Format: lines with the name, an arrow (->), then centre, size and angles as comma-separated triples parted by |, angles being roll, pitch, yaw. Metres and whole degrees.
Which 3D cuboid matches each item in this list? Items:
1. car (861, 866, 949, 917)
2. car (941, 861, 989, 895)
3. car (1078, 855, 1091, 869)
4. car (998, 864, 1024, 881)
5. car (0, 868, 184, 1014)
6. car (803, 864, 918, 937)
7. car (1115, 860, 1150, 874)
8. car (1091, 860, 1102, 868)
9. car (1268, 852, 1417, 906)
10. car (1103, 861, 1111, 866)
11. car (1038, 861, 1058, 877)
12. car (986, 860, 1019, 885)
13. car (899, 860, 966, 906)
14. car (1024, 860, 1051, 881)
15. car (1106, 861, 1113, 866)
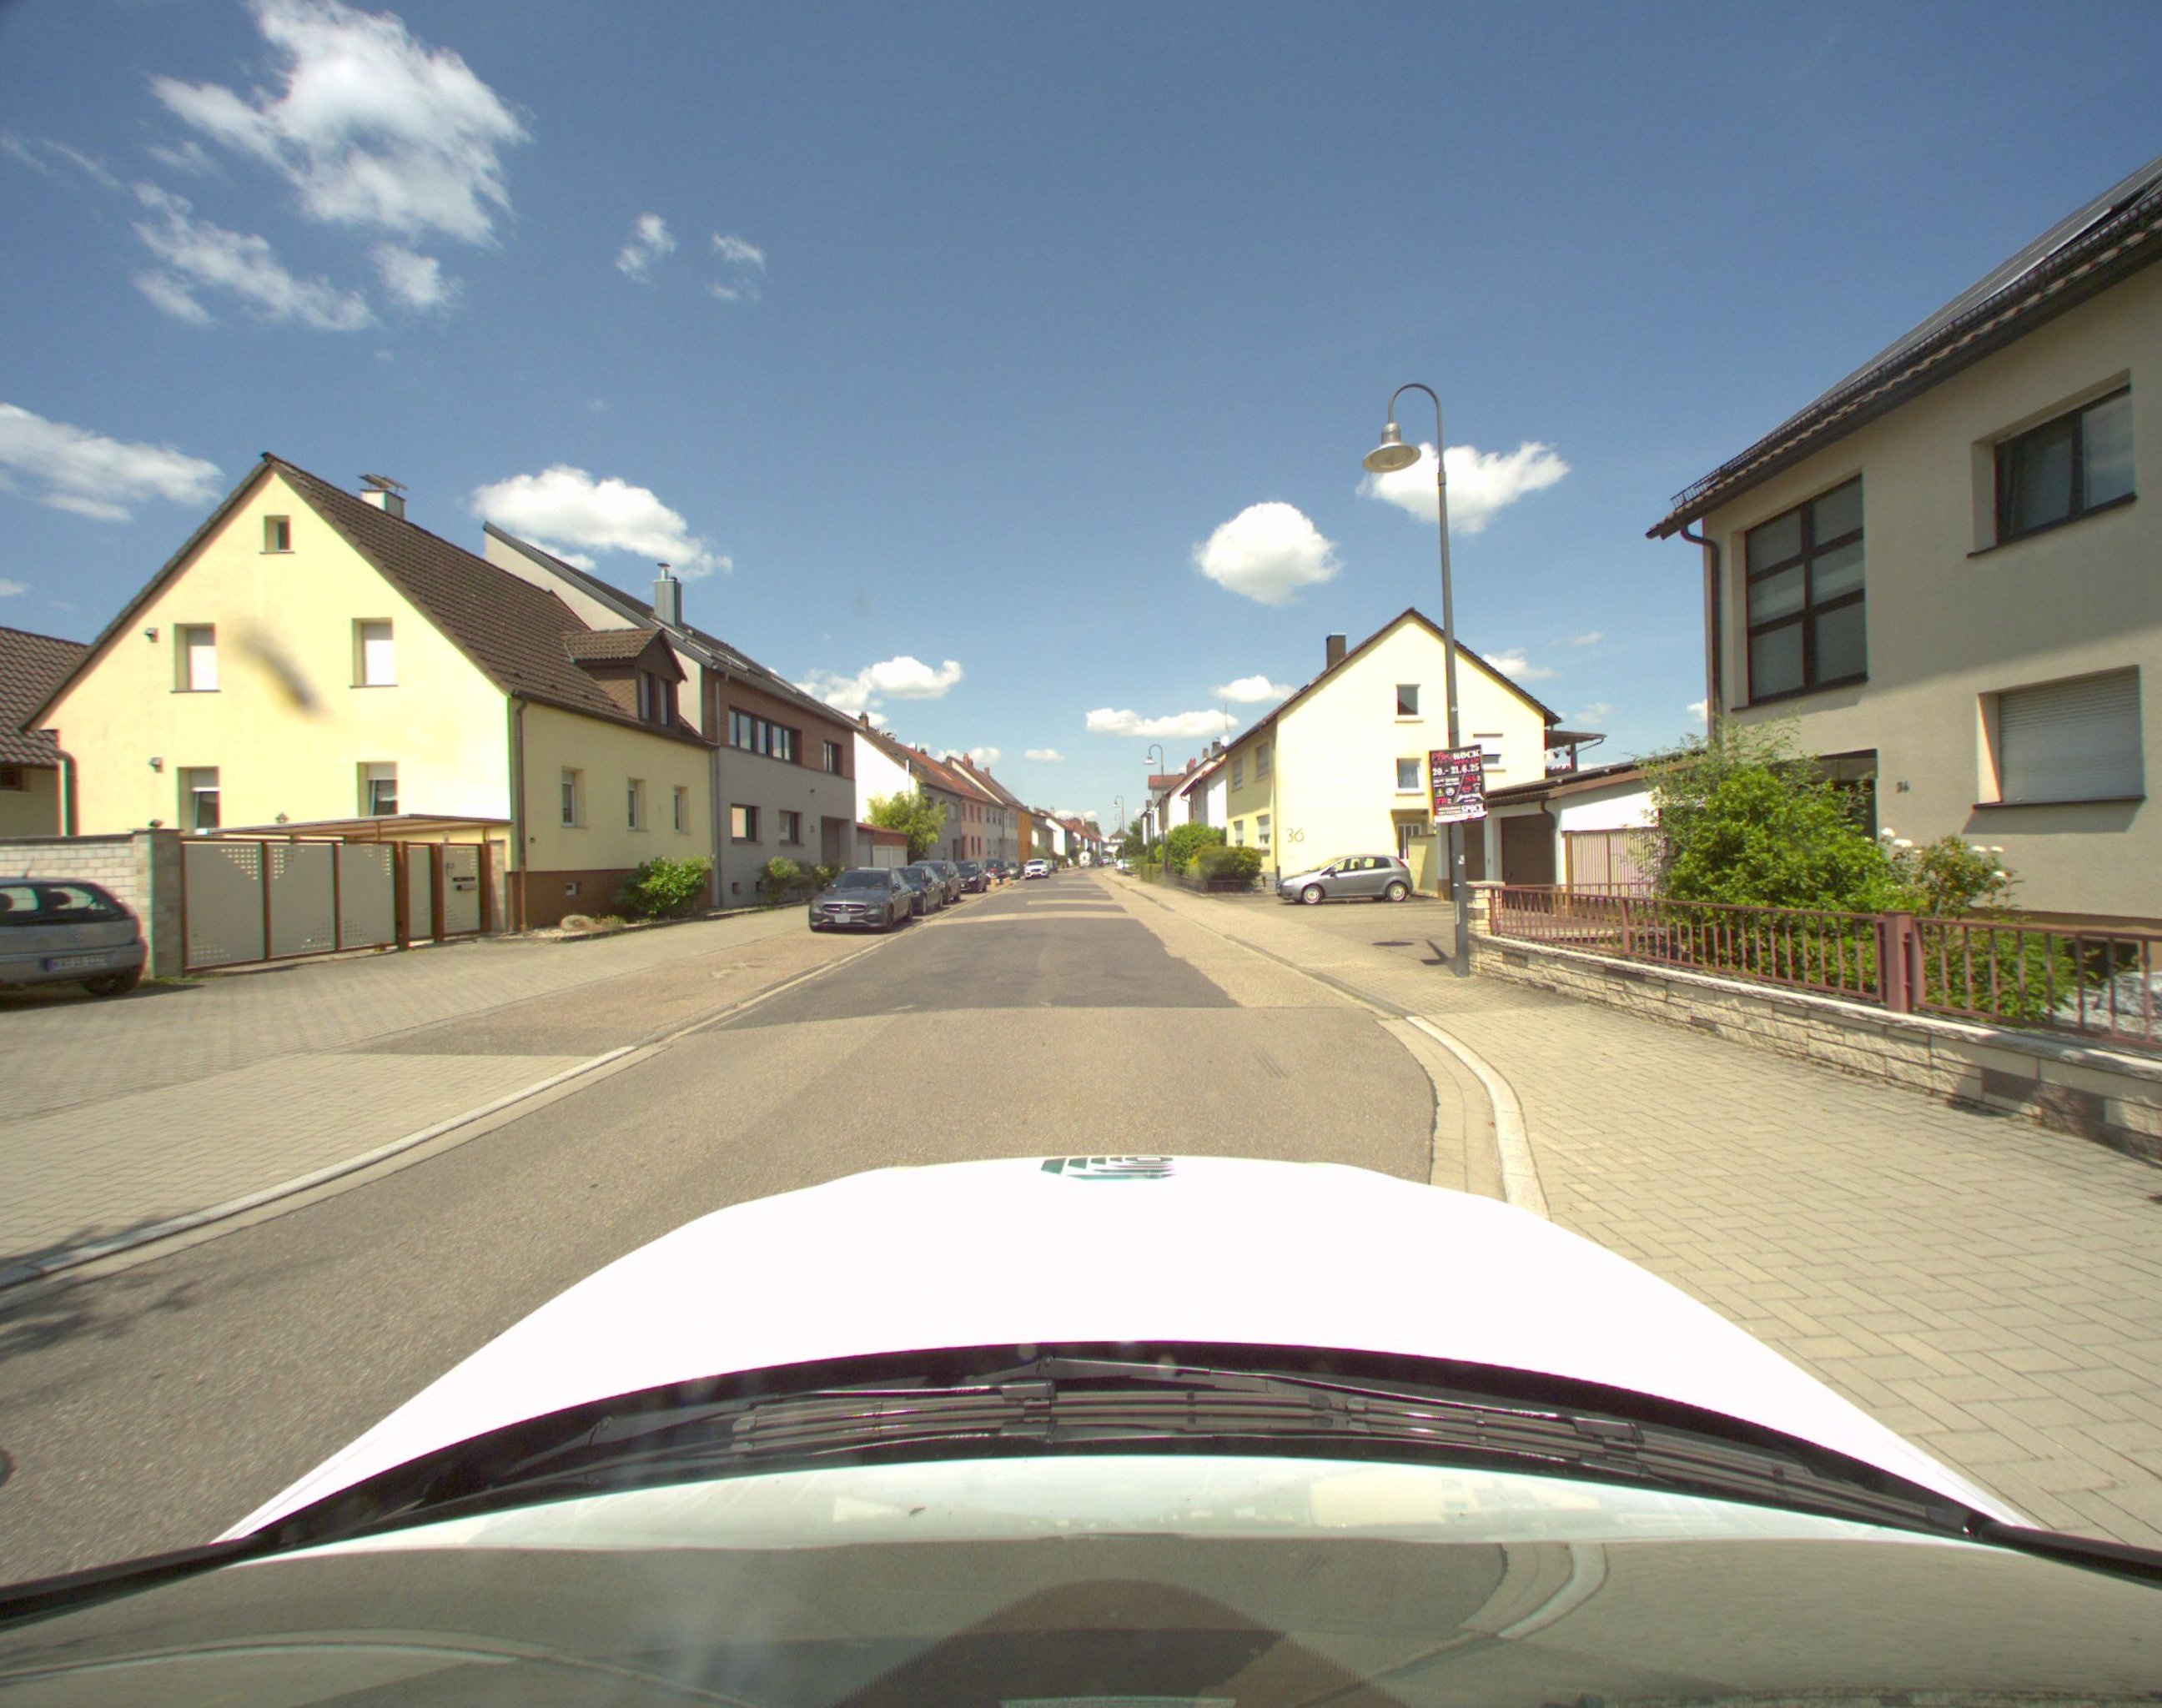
car -> -5.457, 1.116, 25.720 | 1.810, 1.434, 4.139 | 1, -1, 0
car -> -5.800, 1.171, 41.071 | 1.773, 1.609, 4.000 | 1, -1, 0
car -> 0.626, 1.355, 138.991 | 2.036, 2.312, 3.775 | 0, -1, 4
car -> -5.834, 1.523, 68.018 | 1.665, 1.336, 3.724 | 1, -1, 3
car -> -12.783, 0.905, 9.160 | 3.509, 1.471, 1.794 | 0, 0, 4
car -> -5.298, 1.048, 20.092 | 1.812, 1.433, 4.136 | 2, 1, -3
car -> 5.368, 1.349, 84.944 | 3.512, 1.464, 1.628 | 0, -1, 0
car -> 2.561, 1.695, 135.534 | 1.684, 1.341, 3.775 | 0, -1, 4
car -> 7.886, 0.742, 24.811 | 3.974, 1.473, 1.746 | -2, -1, 0
car -> 6.070, 2.160, 191.444 | 1.684, 1.133, 3.775 | 0, -1, 4
car -> -3.581, 1.606, 89.517 | 1.842, 1.659, 4.003 | 1, -1, 3
car -> -5.366, 1.244, 55.855 | 1.804, 1.609, 4.000 | 1, -1, 0
car -> -5.633, 1.063, 31.391 | 1.773, 1.609, 4.000 | 1, -1, 0
car -> -3.635, 1.359, 69.020 | 1.842, 1.659, 4.003 | 1, -1, 3
car -> 7.476, 2.524, 210.846 | 1.684, 1.133, 3.775 | 0, -1, 4
